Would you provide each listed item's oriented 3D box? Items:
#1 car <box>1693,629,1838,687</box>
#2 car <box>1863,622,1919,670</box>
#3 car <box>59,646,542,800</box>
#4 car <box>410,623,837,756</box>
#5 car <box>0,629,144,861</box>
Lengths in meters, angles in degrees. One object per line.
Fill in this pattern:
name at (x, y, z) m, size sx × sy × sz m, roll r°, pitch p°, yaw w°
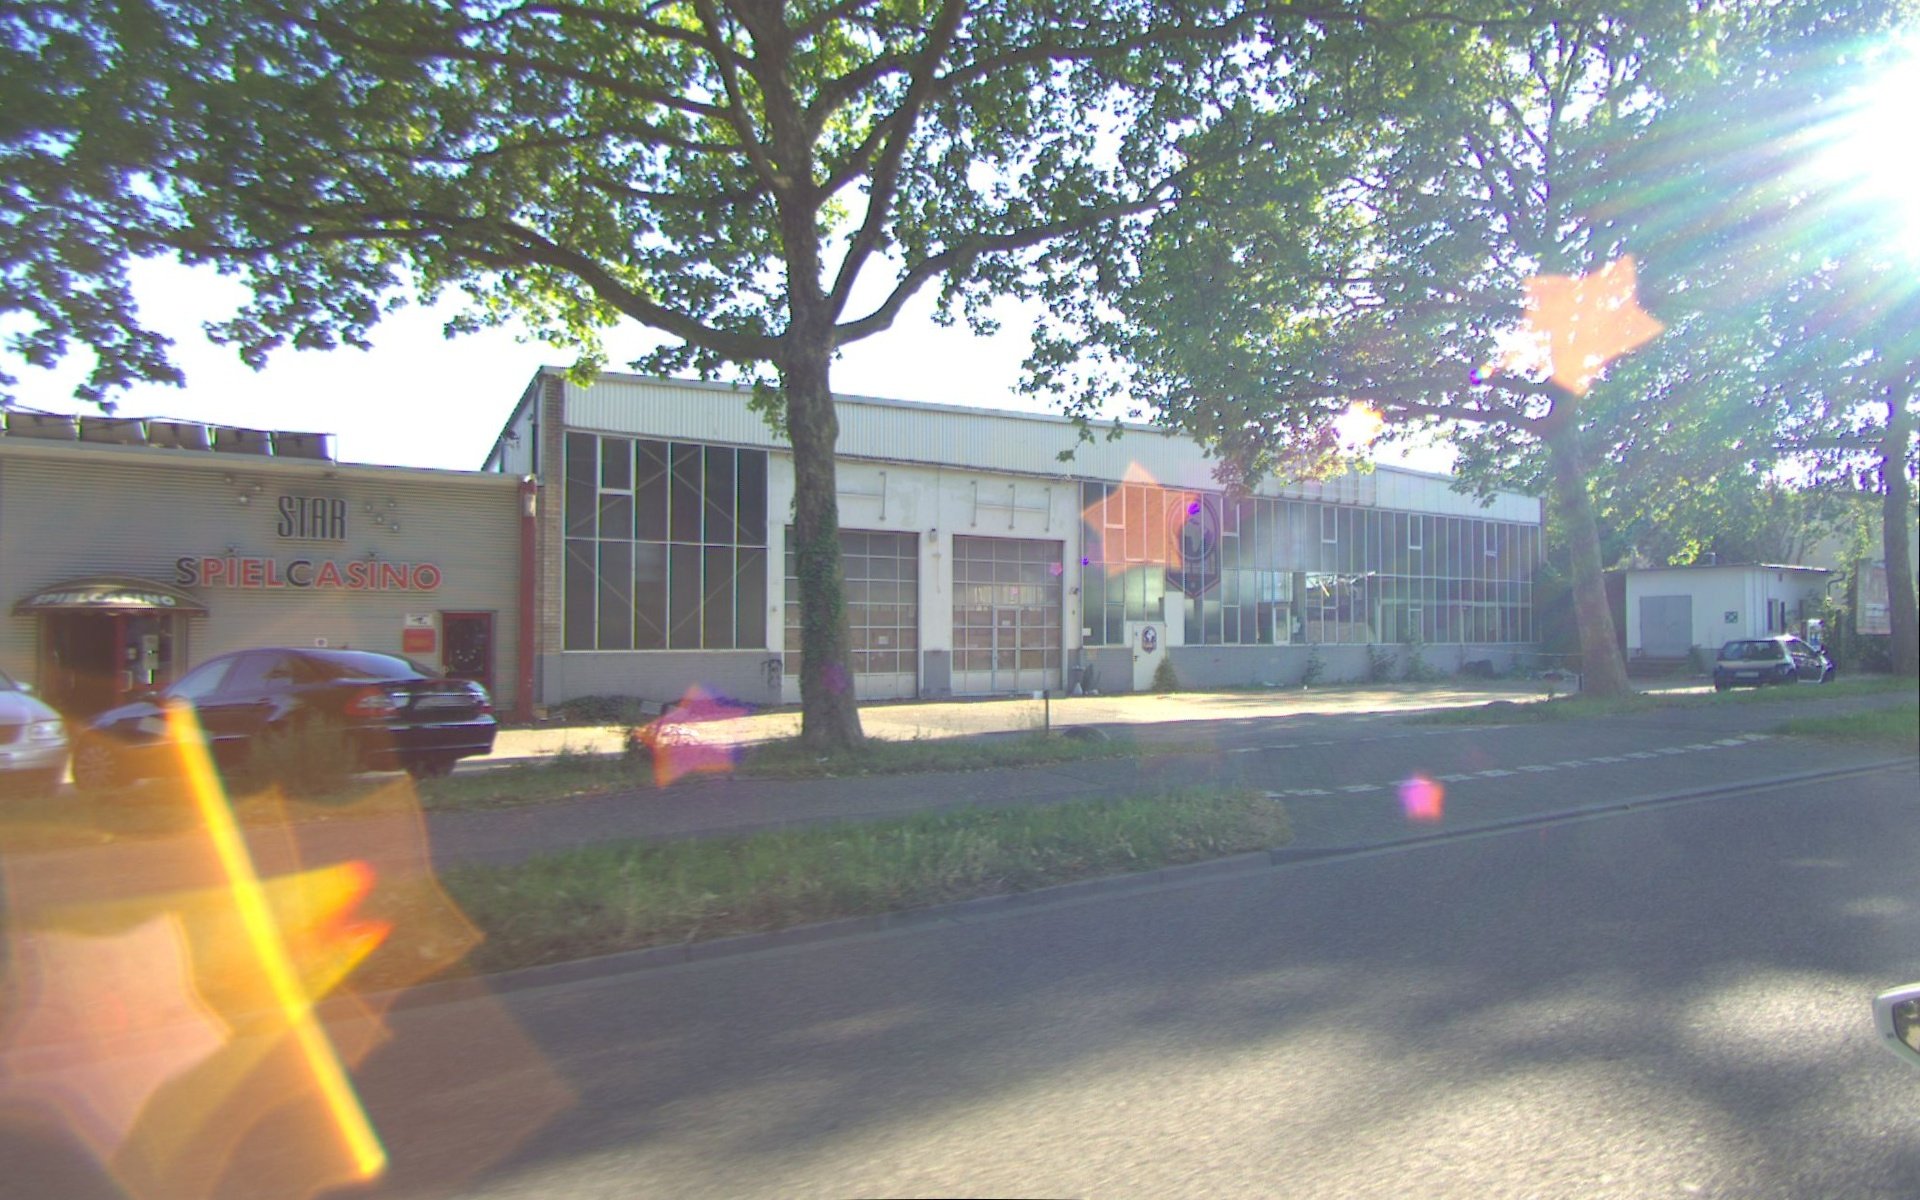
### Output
car at (21.860, 1.560, 27.233) m, size 3.881 × 1.387 × 1.982 m, roll 1°, pitch -6°, yaw -35°
car at (34.389, 1.632, 35.846) m, size 4.221 × 1.597 × 1.985 m, roll 1°, pitch -1°, yaw -29°
car at (-6.910, 1.182, 10.616) m, size 4.396 × 1.323 × 2.000 m, roll -1°, pitch -1°, yaw 19°
car at (-3.857, 0.953, 11.660) m, size 4.396 × 1.323 × 2.000 m, roll -1°, pitch -1°, yaw 19°
car at (-9.482, 1.133, 8.631) m, size 4.398 × 1.753 × 1.999 m, roll 1°, pitch -1°, yaw 23°
